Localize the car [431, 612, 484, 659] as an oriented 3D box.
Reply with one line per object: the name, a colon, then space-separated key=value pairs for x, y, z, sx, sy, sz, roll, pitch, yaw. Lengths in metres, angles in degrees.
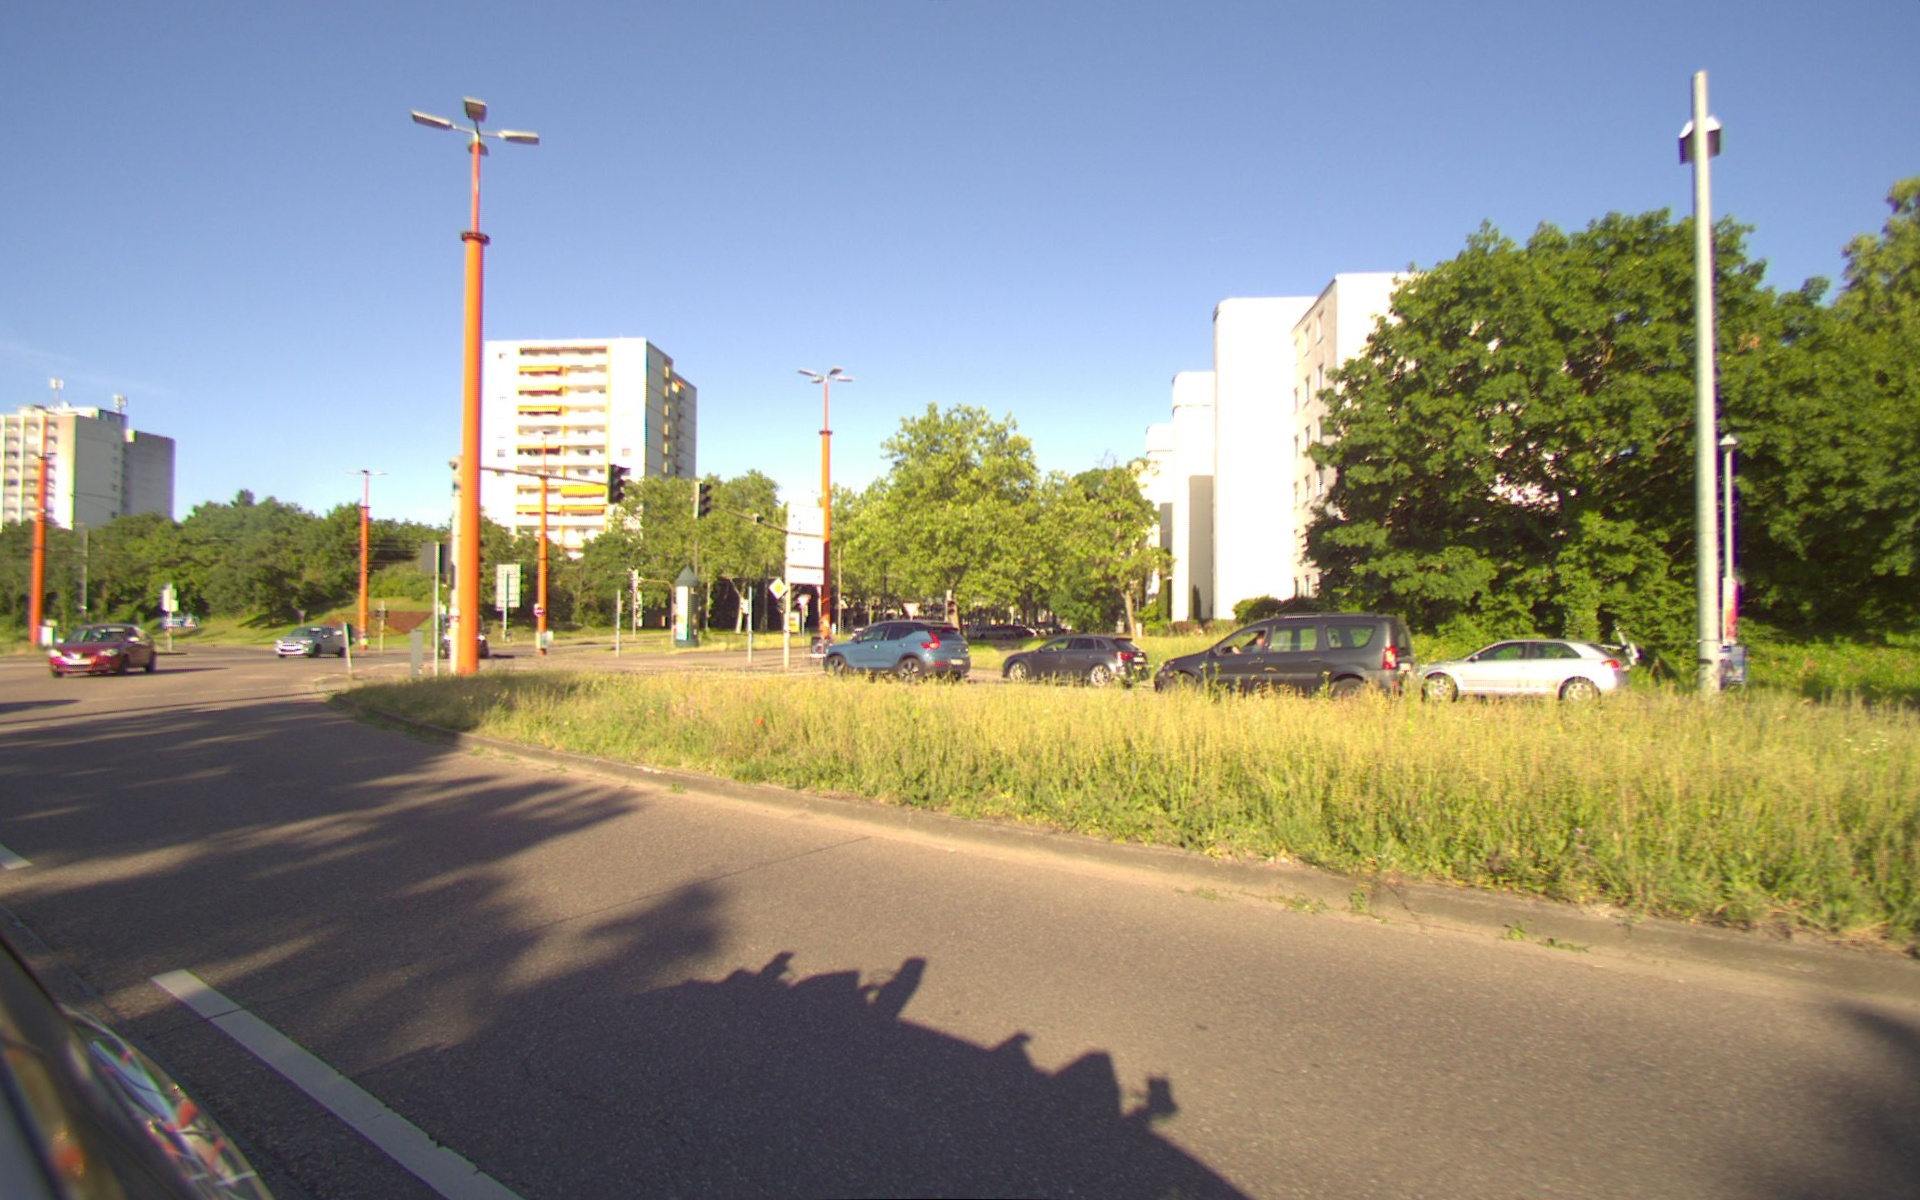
car: x=-25.368 y=1.752 z=50.991 sx=2.006 sy=2.221 sz=5.678 roll=0 pitch=-2 yaw=-30

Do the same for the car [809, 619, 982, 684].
car: x=-1.783 y=1.368 z=27.170 sx=4.559 sy=1.623 sz=1.880 roll=-1 pitch=-4 yaw=38

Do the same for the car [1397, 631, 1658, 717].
car: x=11.846 y=1.489 z=21.294 sx=4.559 sy=1.623 sz=1.880 roll=-1 pitch=-4 yaw=38

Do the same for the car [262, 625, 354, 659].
car: x=-31.275 y=2.002 z=48.714 sx=1.884 sy=1.570 sz=4.734 roll=0 pitch=-2 yaw=-8

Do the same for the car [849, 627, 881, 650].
car: x=-6.895 y=2.796 z=73.773 sx=1.878 sy=1.562 sz=4.258 roll=3 pitch=-2 yaw=1

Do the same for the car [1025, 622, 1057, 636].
car: x=12.154 y=4.357 z=152.225 sx=4.357 sy=1.934 sz=2.027 roll=0 pitch=-3 yaw=-32

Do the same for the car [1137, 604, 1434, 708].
car: x=5.542 y=0.939 z=17.537 sx=4.559 sy=1.577 sz=1.880 roll=-1 pitch=-4 yaw=38

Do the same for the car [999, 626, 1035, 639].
car: x=6.864 y=3.889 z=122.161 sx=3.980 sy=1.510 sz=1.801 roll=0 pitch=-3 yaw=-29

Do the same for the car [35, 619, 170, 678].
car: x=-24.685 y=1.366 z=29.331 sx=1.742 sy=1.570 sz=4.741 roll=1 pitch=-2 yaw=-25

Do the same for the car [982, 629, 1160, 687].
car: x=2.993 y=1.561 z=27.749 sx=4.559 sy=1.486 sz=1.880 roll=-1 pitch=-4 yaw=38

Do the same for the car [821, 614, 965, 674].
car: x=-2.170 y=1.401 z=32.125 sx=4.440 sy=1.789 sz=1.880 roll=-1 pitch=-4 yaw=38
